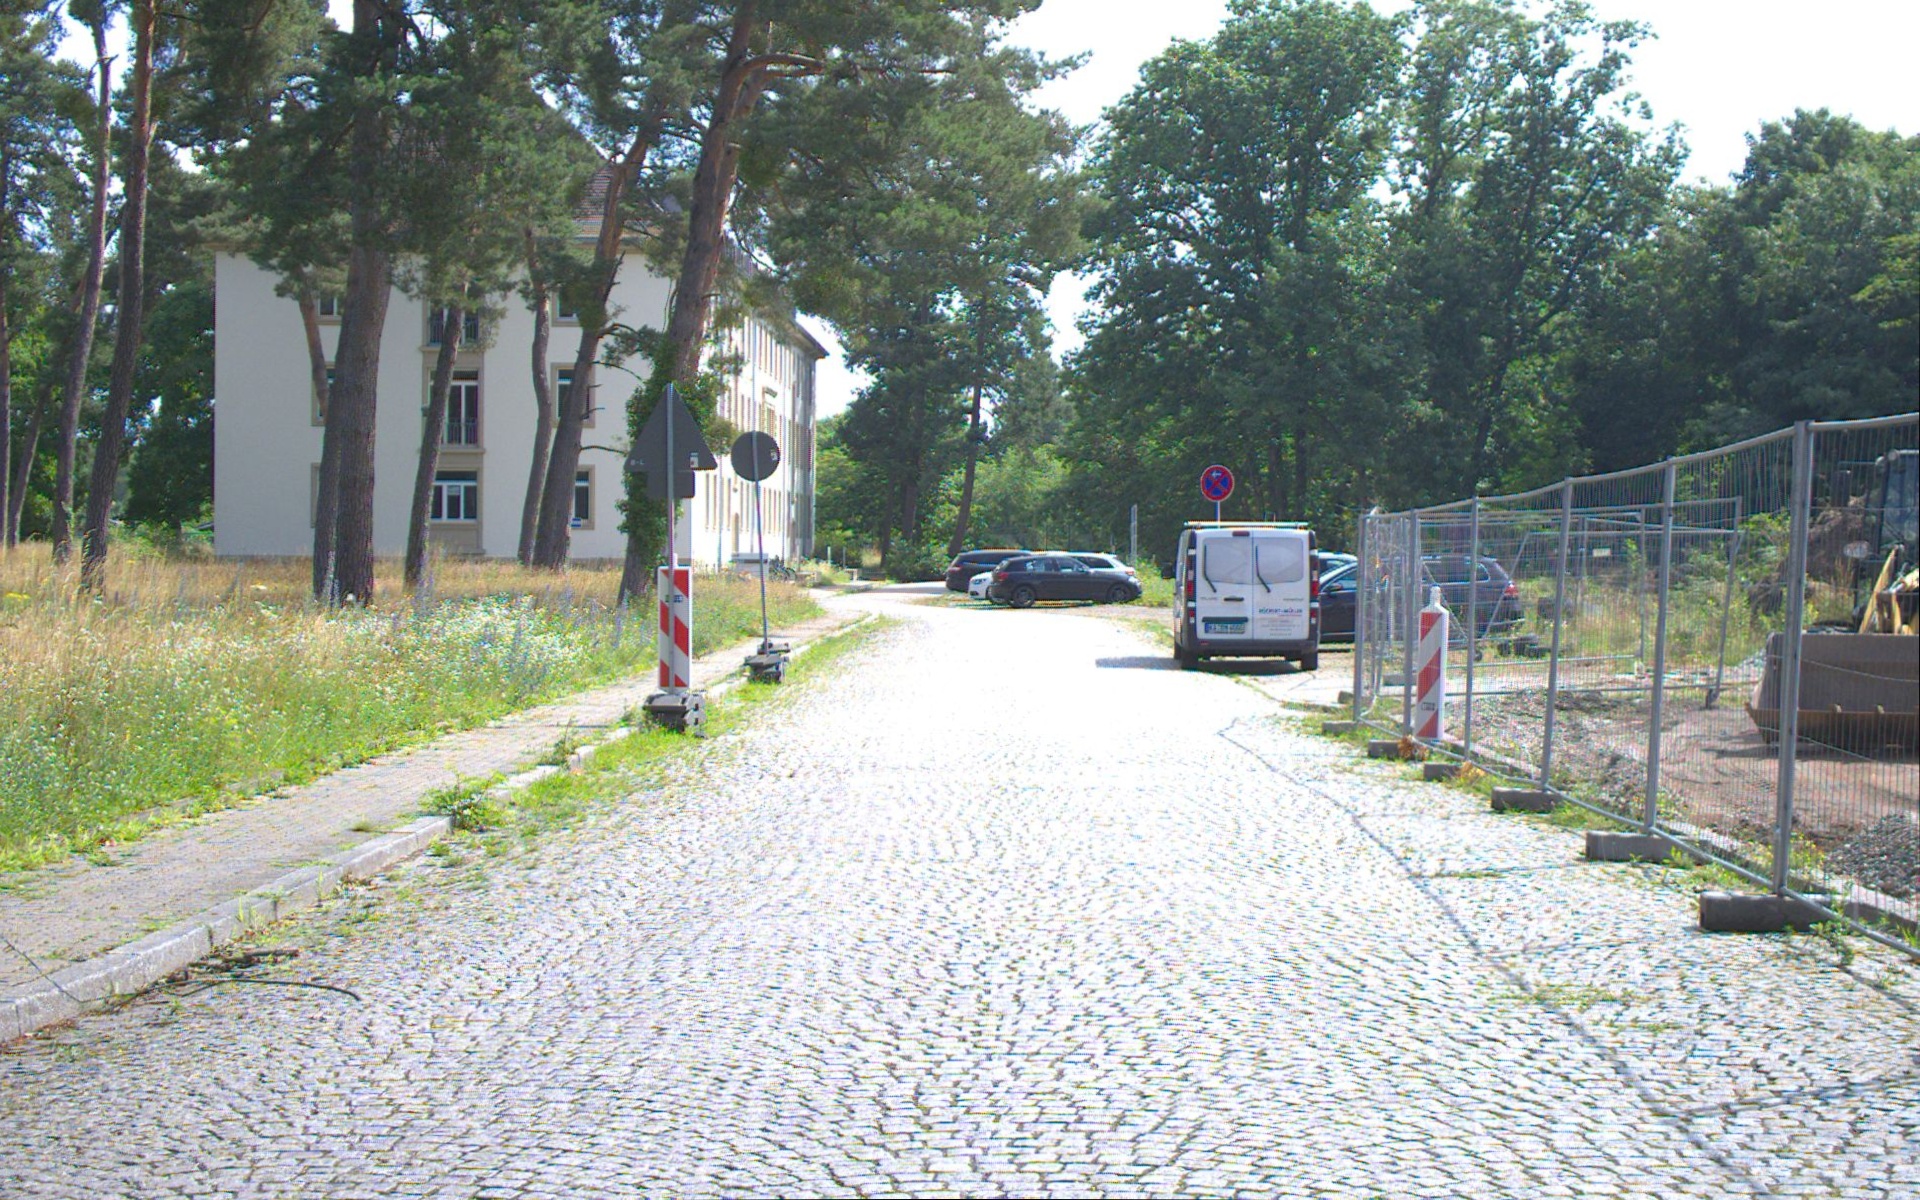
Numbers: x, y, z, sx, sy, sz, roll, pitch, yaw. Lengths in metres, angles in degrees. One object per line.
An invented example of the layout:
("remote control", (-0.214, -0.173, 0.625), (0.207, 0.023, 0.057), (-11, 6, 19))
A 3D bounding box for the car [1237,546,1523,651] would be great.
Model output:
("car", (6.699, -0.040, 54.705), (4.404, 1.505, 1.999), (2, 1, 9))

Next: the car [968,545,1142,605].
("car", (2.720, -0.734, 98.801), (4.779, 1.635, 2.000), (1, 1, -5))

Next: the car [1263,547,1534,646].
("car", (7.378, -0.076, 57.765), (4.404, 1.505, 1.999), (2, 1, 9))

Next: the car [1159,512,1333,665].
("car", (3.932, -0.185, 47.901), (1.993, 2.007, 4.091), (1, 1, -1))

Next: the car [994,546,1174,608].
("car", (3.429, -0.655, 95.476), (4.779, 1.635, 2.000), (1, 1, -5))

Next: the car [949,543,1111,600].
("car", (2.123, -0.880, 105.285), (4.779, 1.635, 2.000), (1, 1, -5))

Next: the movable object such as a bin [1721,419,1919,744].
("movable object such as a bin", (8.353, -0.184, 29.642), (2.132, 2.584, 4.783), (1, 1, 30))
